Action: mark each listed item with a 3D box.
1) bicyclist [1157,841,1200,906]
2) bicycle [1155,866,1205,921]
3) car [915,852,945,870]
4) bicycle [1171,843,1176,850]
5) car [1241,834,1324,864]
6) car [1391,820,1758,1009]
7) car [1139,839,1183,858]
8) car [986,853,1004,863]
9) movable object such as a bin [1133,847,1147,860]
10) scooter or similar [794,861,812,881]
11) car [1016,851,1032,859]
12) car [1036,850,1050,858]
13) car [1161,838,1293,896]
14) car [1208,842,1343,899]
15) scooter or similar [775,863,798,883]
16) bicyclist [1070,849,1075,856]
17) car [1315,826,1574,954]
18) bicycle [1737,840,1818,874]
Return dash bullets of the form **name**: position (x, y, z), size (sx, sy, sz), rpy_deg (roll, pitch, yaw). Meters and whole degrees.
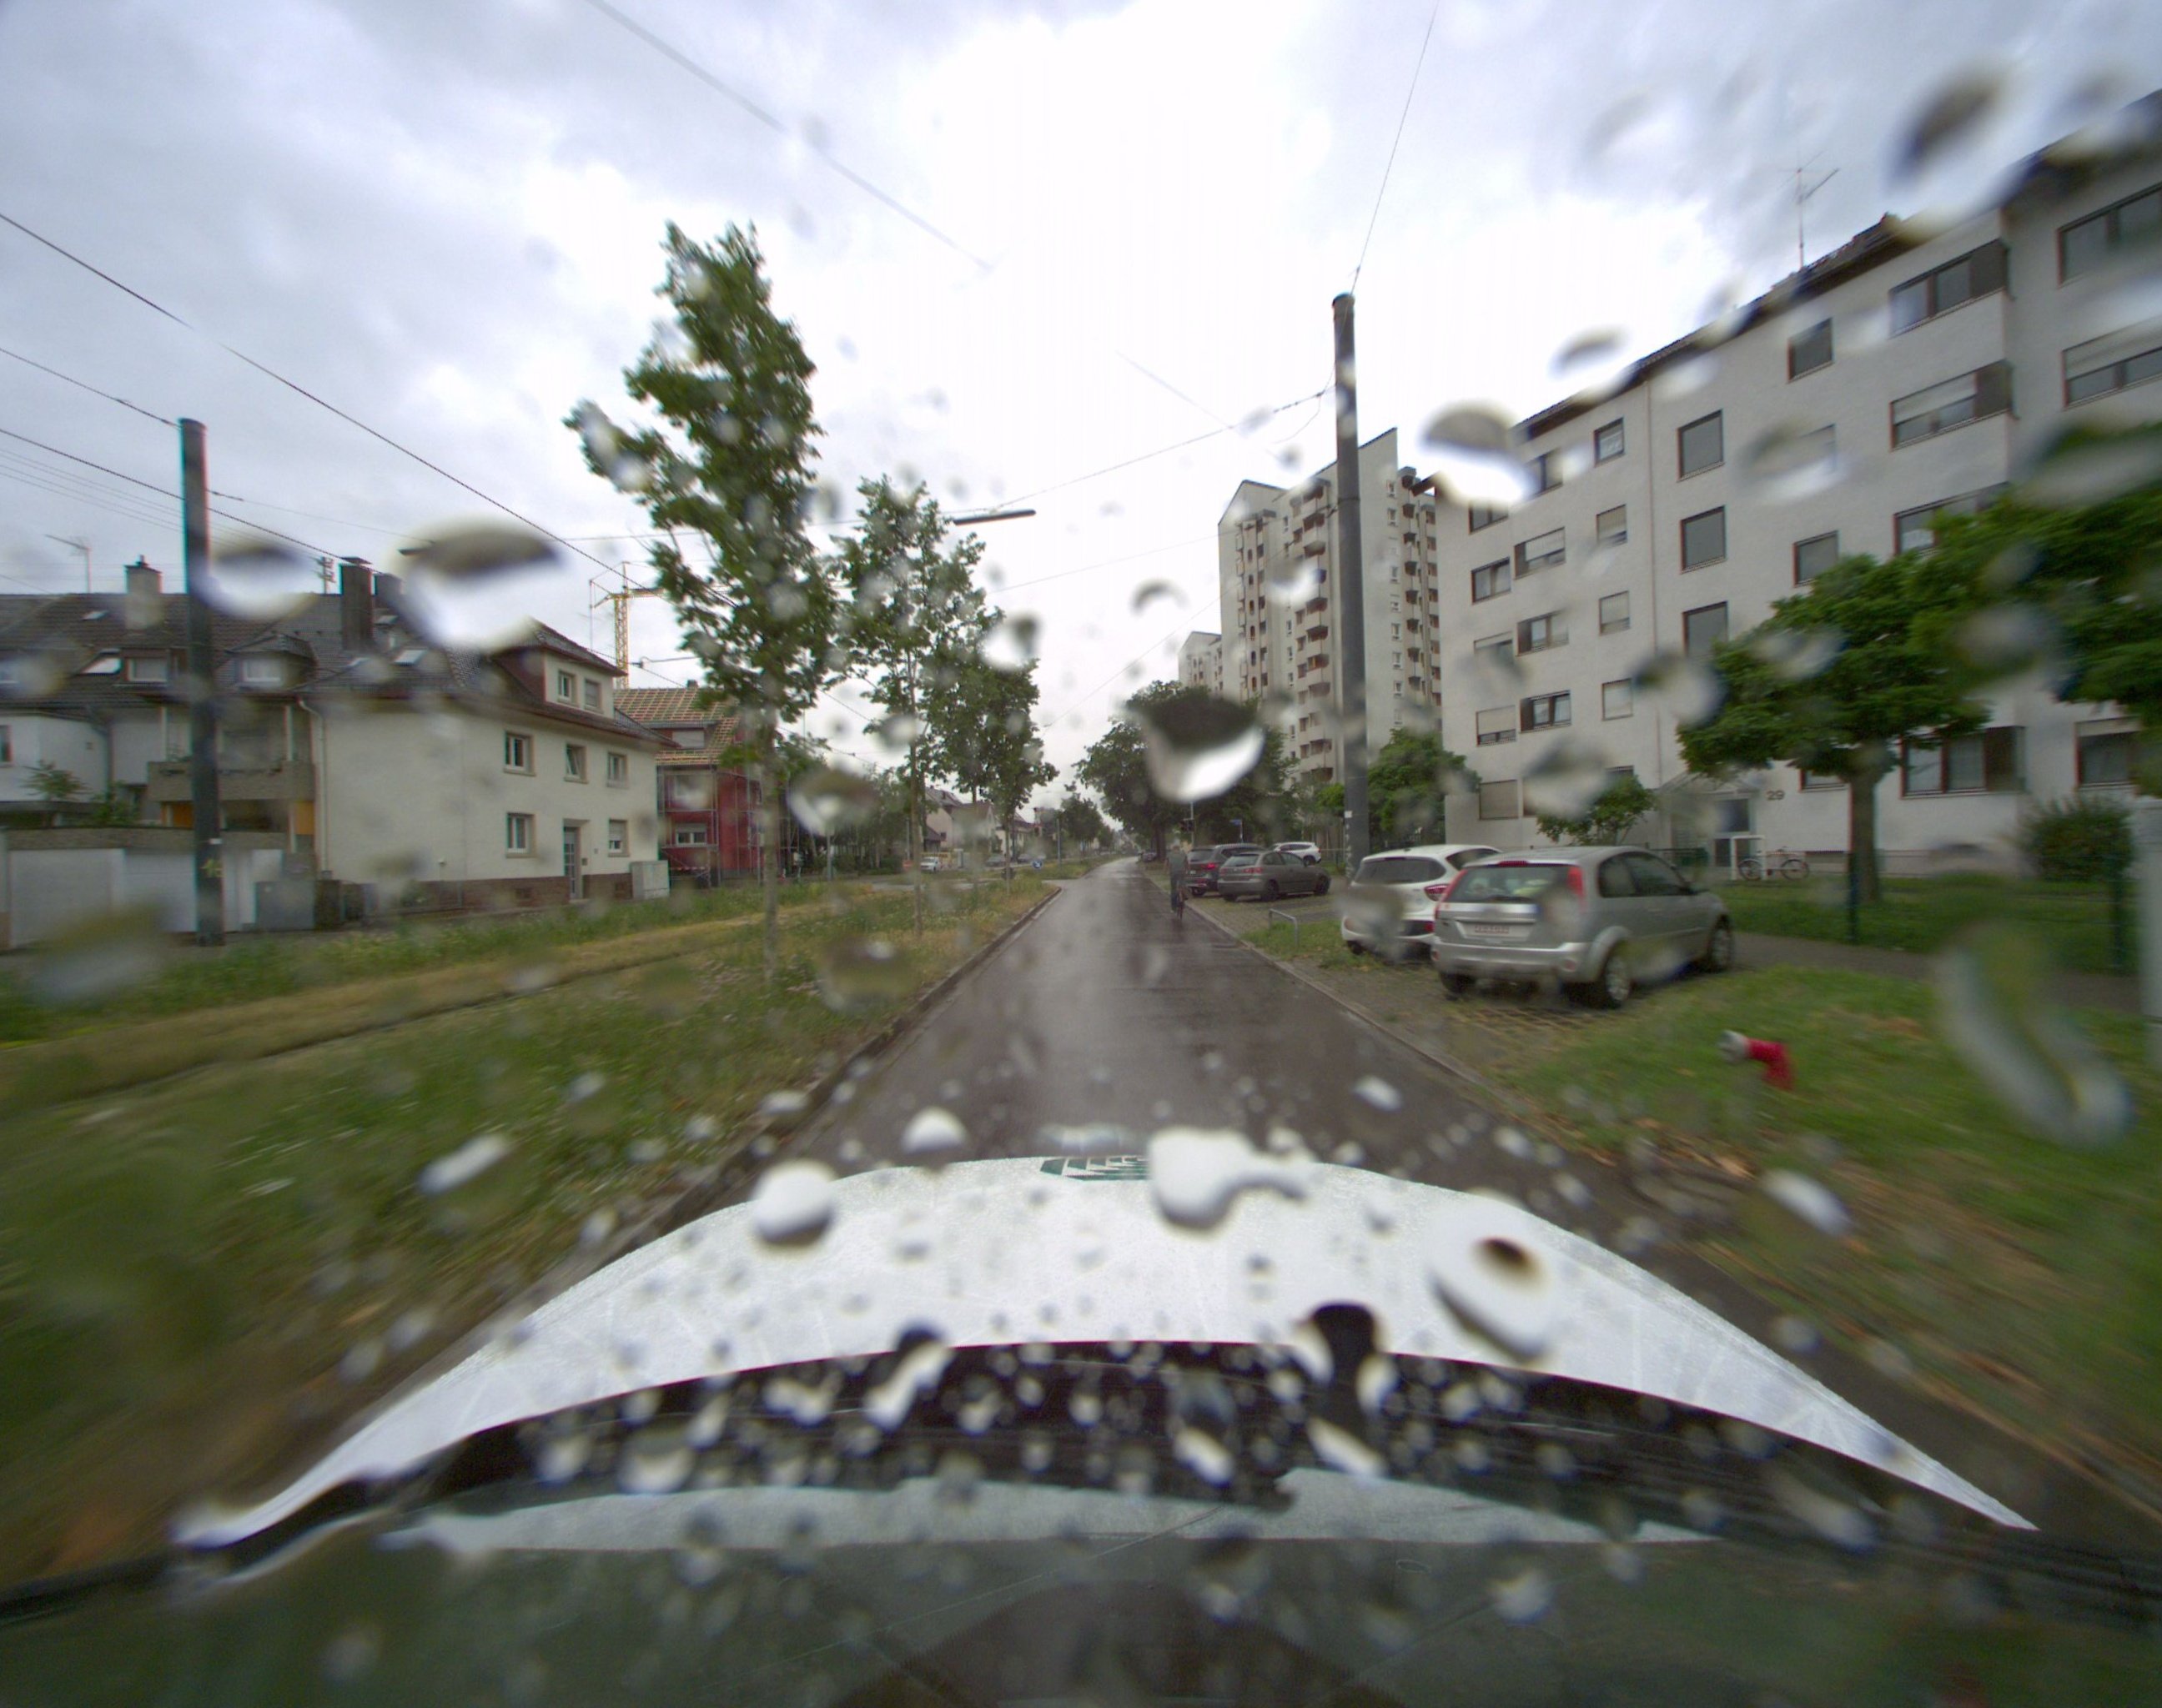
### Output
- **bicyclist**: position (2.257, 0.441, 18.917), size (0.807, 1.432, 1.060), rpy_deg (-3, 0, 0)
- **bicycle**: position (2.271, 0.881, 18.931), size (0.807, 1.096, 2.517), rpy_deg (-3, 0, 0)
- **car**: position (-14.295, 0.642, 77.239), size (1.702, 1.542, 4.428), rpy_deg (0, 1, 5)
- **bicycle**: position (14.336, -1.201, 126.067), size (0.731, 1.056, 2.053), rpy_deg (-2, 1, 3)
- **car**: position (12.989, -0.328, 52.656), size (4.807, 1.745, 1.992), rpy_deg (-2, 0, -13)
- **car**: position (5.351, 0.508, 8.688), size (4.016, 1.508, 1.765), rpy_deg (-3, -2, -34)
- **car**: position (8.461, -0.593, 85.847), size (4.160, 1.719, 1.981), rpy_deg (-5, 2, -29)
- **car**: position (-11.218, 0.490, 106.542), size (1.656, 1.244, 4.076), rpy_deg (0, 1, 4)
- **movable object such as a bin**: position (7.242, -0.087, 99.370), size (1.128, 1.457, 1.393), rpy_deg (-8, 2, -17)
- **scooter or similar**: position (-17.545, 1.058, 51.436), size (0.390, 1.180, 1.289), rpy_deg (-2, 0, 18)
- **car**: position (-9.249, 0.214, 132.456), size (1.887, 1.244, 4.696), rpy_deg (0, 1, 7)
- **car**: position (-7.271, -0.013, 154.536), size (1.887, 1.469, 4.696), rpy_deg (0, 1, 7)
- **car**: position (4.885, 0.396, 26.978), size (4.372, 1.651, 1.836), rpy_deg (-3, 1, -39)
- **car**: position (5.773, 0.436, 23.939), size (4.020, 1.428, 1.715), rpy_deg (-3, 1, -39)
- **scooter or similar**: position (-17.473, 1.120, 48.328), size (0.436, 1.129, 1.291), rpy_deg (-2, 0, 32)
- **bicyclist**: position (-2.101, -0.369, 200.027), size (1.014, 1.685, 1.093), rpy_deg (-2, 0, 3)
- **car**: position (5.435, 0.450, 11.983), size (4.019, 1.508, 1.686), rpy_deg (-3, -2, -37)
- **bicycle**: position (18.360, 0.092, 21.506), size (0.491, 0.847, 1.560), rpy_deg (-3, 0, -23)
